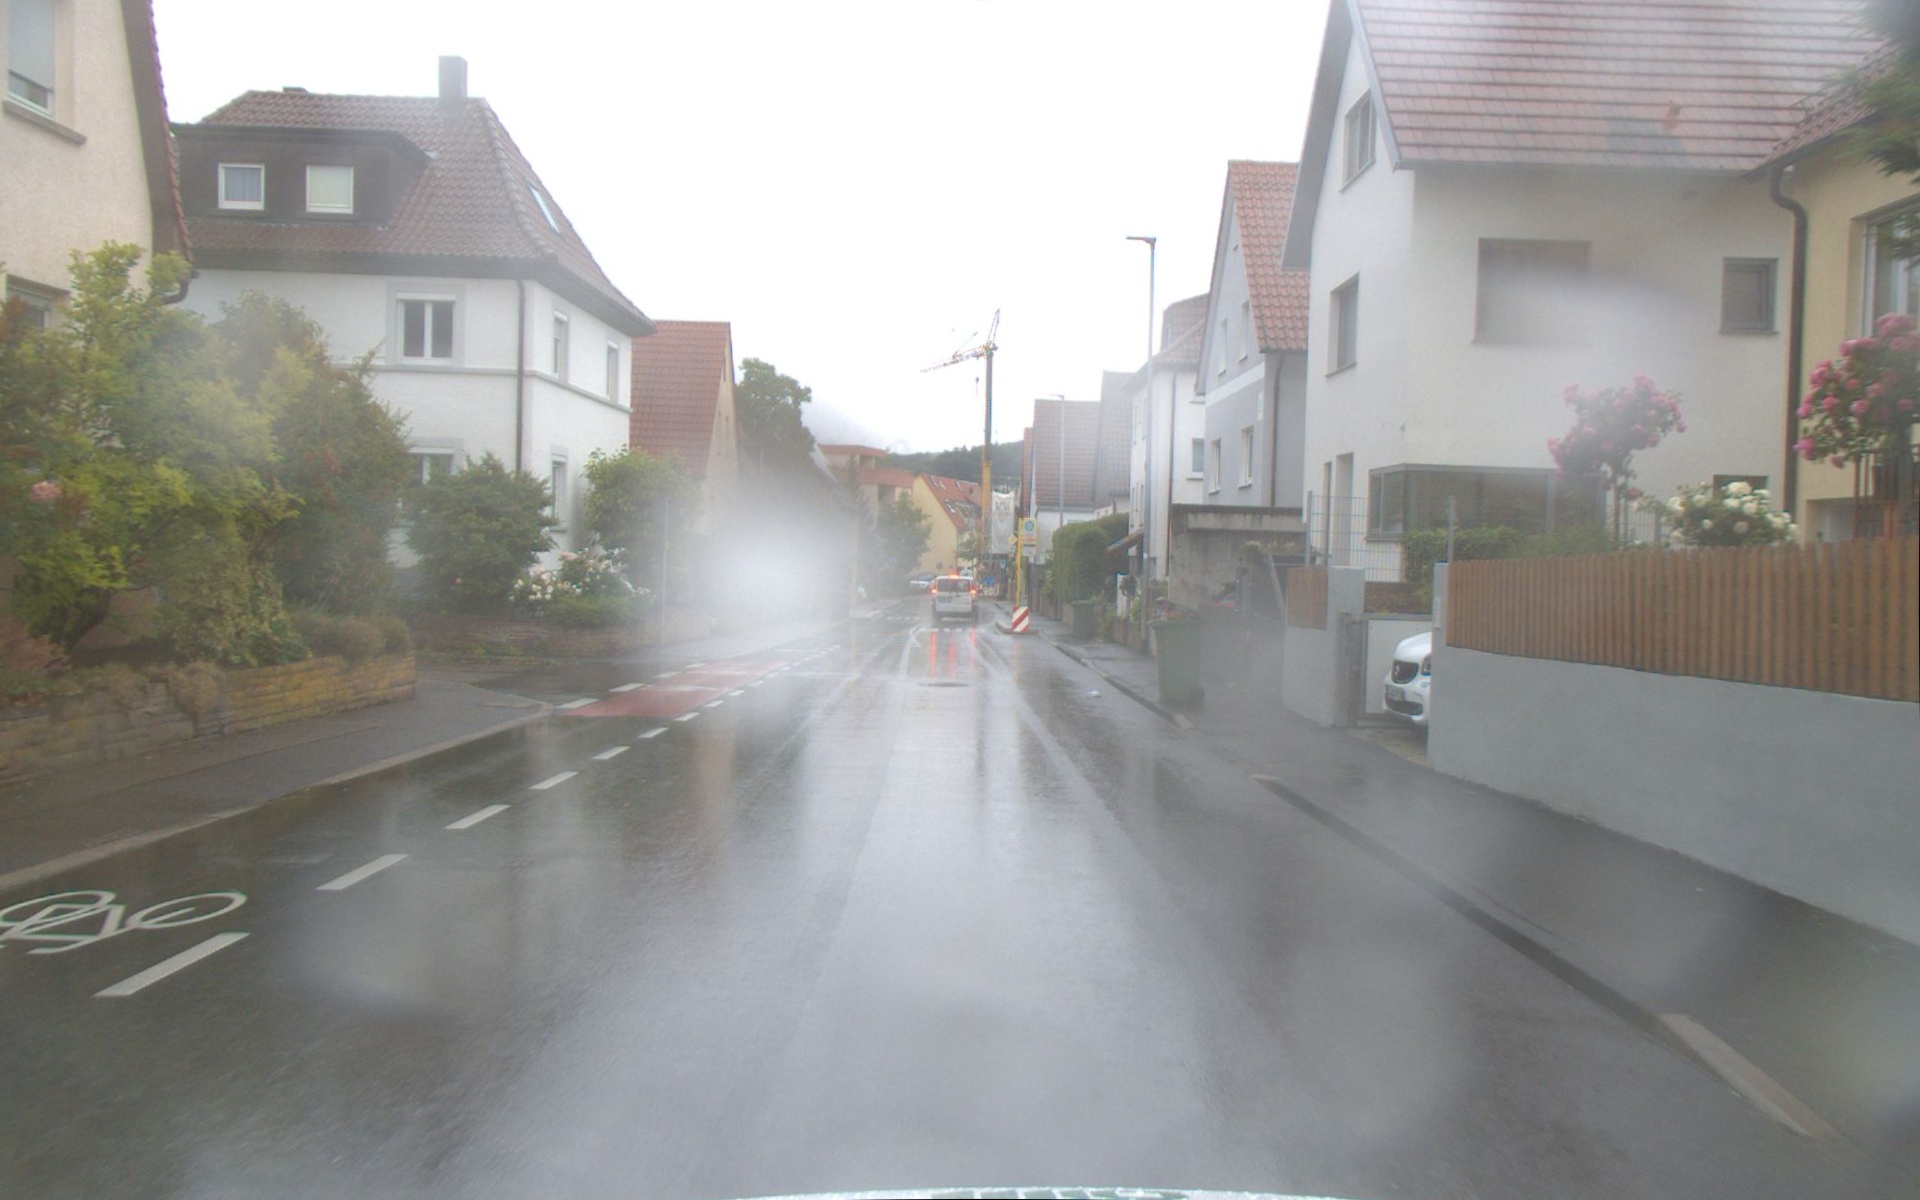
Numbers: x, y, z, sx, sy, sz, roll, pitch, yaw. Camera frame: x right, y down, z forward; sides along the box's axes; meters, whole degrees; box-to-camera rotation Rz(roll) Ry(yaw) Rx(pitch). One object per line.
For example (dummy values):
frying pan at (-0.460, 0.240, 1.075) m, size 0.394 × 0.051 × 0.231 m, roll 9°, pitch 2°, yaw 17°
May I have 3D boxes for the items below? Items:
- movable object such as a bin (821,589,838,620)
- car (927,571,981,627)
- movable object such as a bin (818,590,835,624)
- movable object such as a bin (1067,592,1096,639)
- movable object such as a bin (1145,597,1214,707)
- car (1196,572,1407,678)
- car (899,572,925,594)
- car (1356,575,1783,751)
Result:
movable object such as a bin at (-5.558, 0.198, 70.390) m, size 0.669 × 1.244 × 0.639 m, roll 3°, pitch 3°, yaw -6°
car at (-0.240, -0.077, 68.311) m, size 2.074 × 1.920 × 4.504 m, roll 3°, pitch 3°, yaw 0°
movable object such as a bin at (-5.636, 0.289, 69.660) m, size 0.669 × 1.345 × 0.639 m, roll 3°, pitch 3°, yaw -6°
movable object such as a bin at (3.527, 0.448, 48.114) m, size 0.769 × 1.299 × 0.714 m, roll 3°, pitch 3°, yaw 3°
movable object such as a bin at (2.782, 0.649, 21.015) m, size 0.730 × 1.301 × 0.882 m, roll 1°, pitch 3°, yaw 0°
car at (5.934, 0.421, 29.000) m, size 3.305 × 1.589 × 1.515 m, roll 3°, pitch 3°, yaw -1°
car at (-4.178, -1.476, 144.266) m, size 1.803 × 1.605 × 4.293 m, roll 3°, pitch 3°, yaw 4°
car at (5.712, 0.555, 15.791) m, size 3.423 × 1.548 × 1.739 m, roll 0°, pitch 1°, yaw -1°
